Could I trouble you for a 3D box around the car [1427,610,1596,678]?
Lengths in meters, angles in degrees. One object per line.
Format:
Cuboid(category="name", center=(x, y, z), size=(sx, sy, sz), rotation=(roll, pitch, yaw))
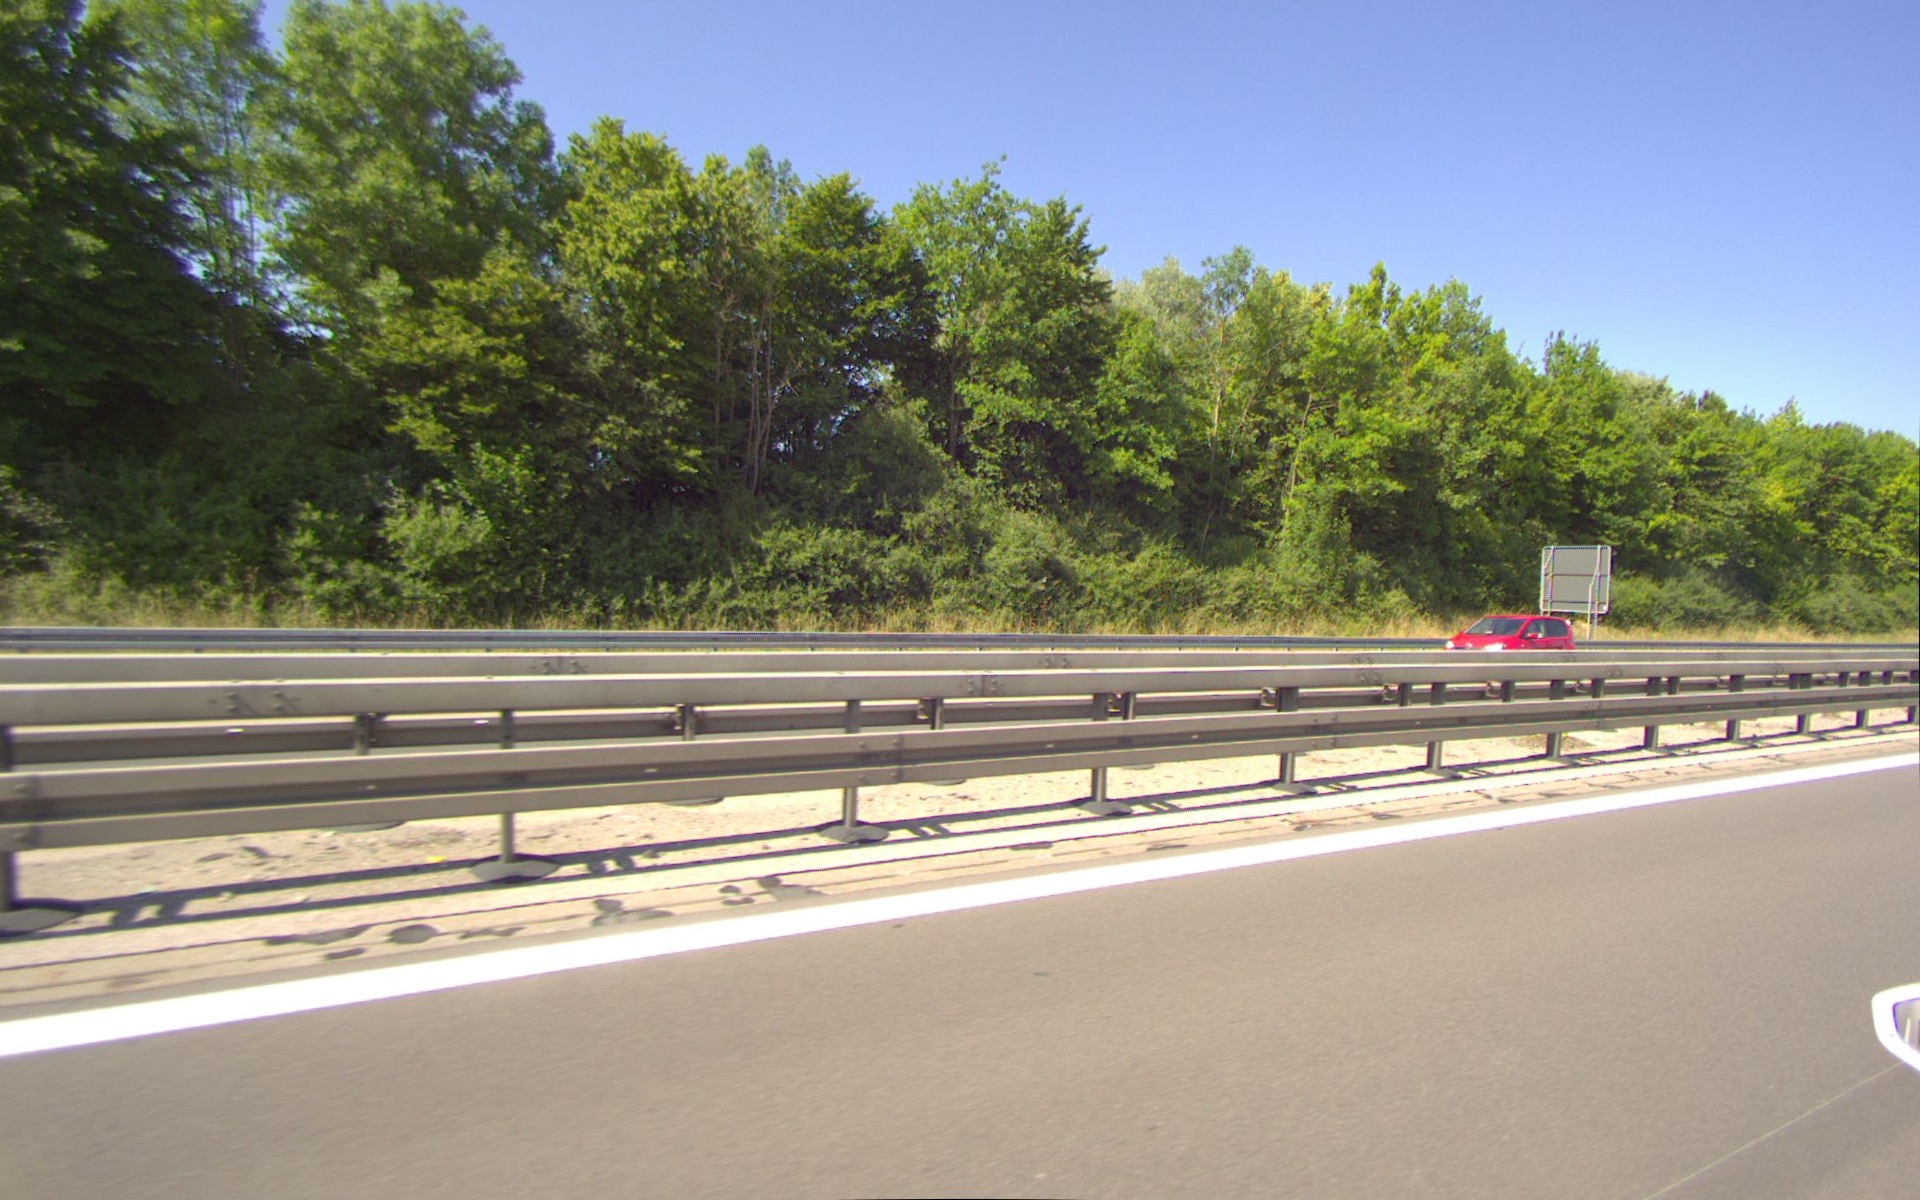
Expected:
Cuboid(category="car", center=(13.145, 1.028, 23.895), size=(4.094, 1.457, 1.664), rotation=(2, 1, -31))
